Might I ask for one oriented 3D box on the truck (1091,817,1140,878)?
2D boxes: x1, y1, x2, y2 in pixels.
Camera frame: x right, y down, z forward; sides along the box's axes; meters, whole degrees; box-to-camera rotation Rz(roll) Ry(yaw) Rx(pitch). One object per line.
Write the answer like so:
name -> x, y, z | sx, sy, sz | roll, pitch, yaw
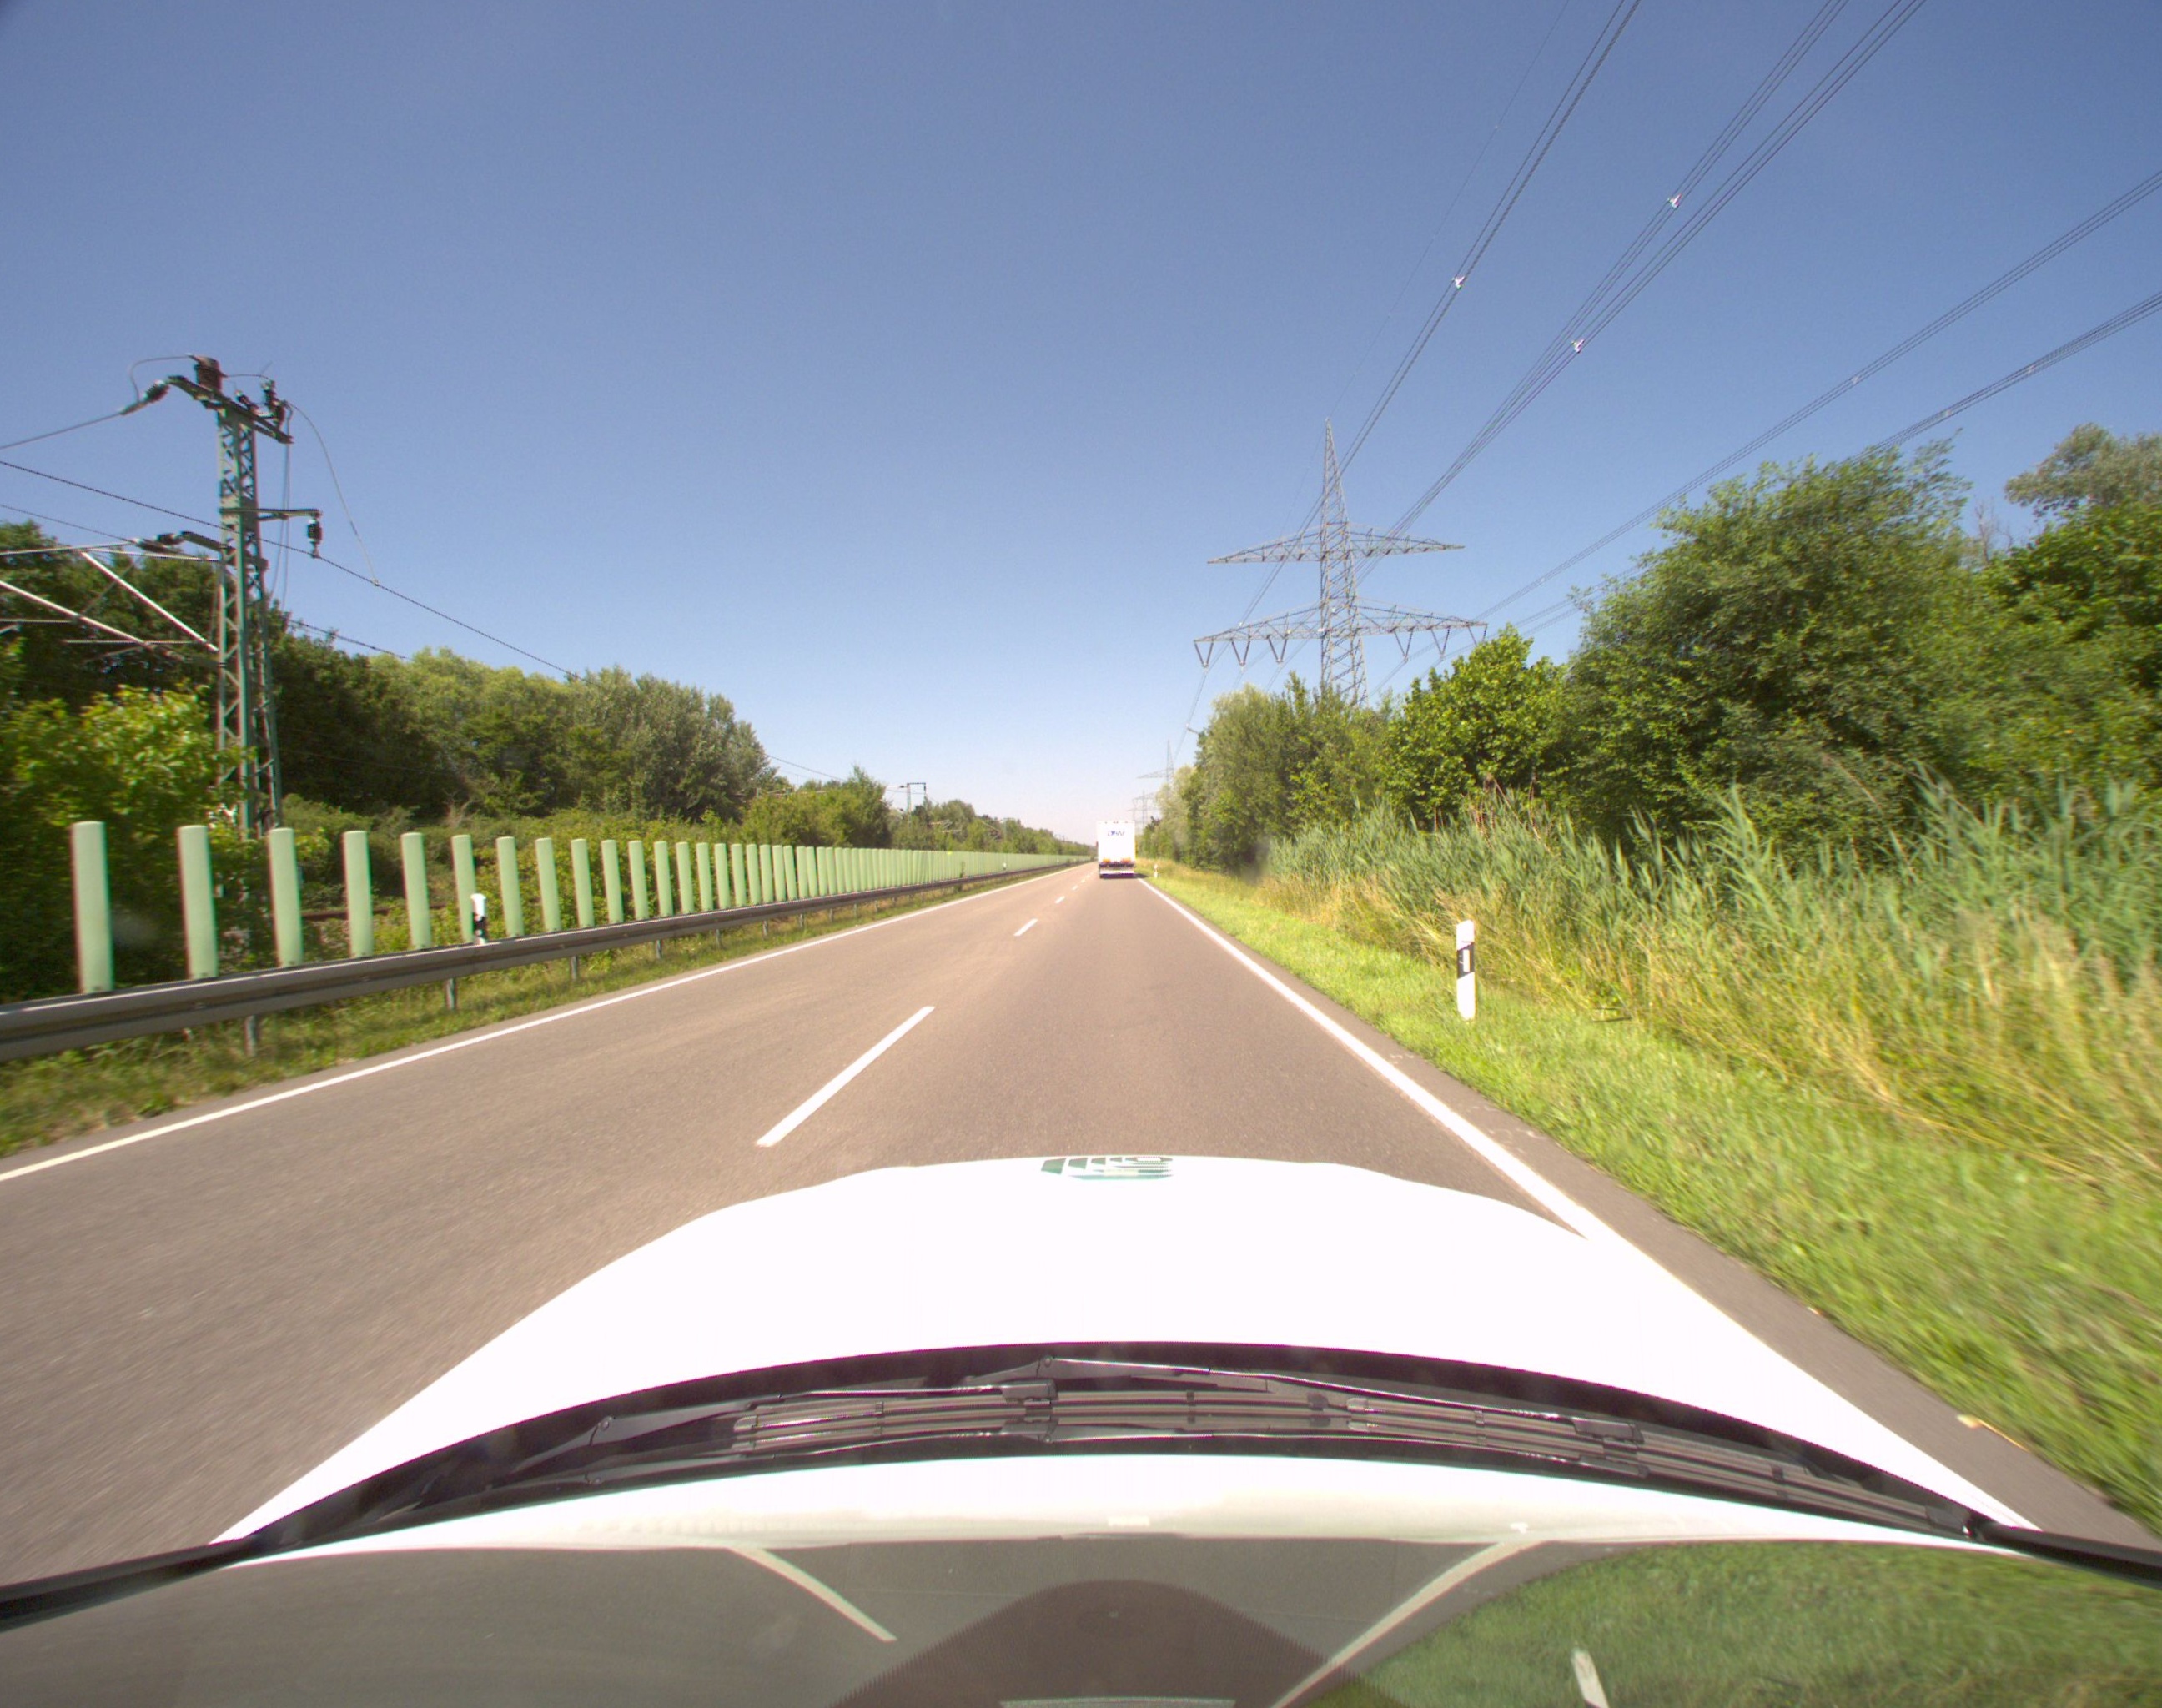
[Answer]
truck -> 2.539, -0.435, 61.847 | 3.180, 4.042, 12.011 | -2, 0, 2
